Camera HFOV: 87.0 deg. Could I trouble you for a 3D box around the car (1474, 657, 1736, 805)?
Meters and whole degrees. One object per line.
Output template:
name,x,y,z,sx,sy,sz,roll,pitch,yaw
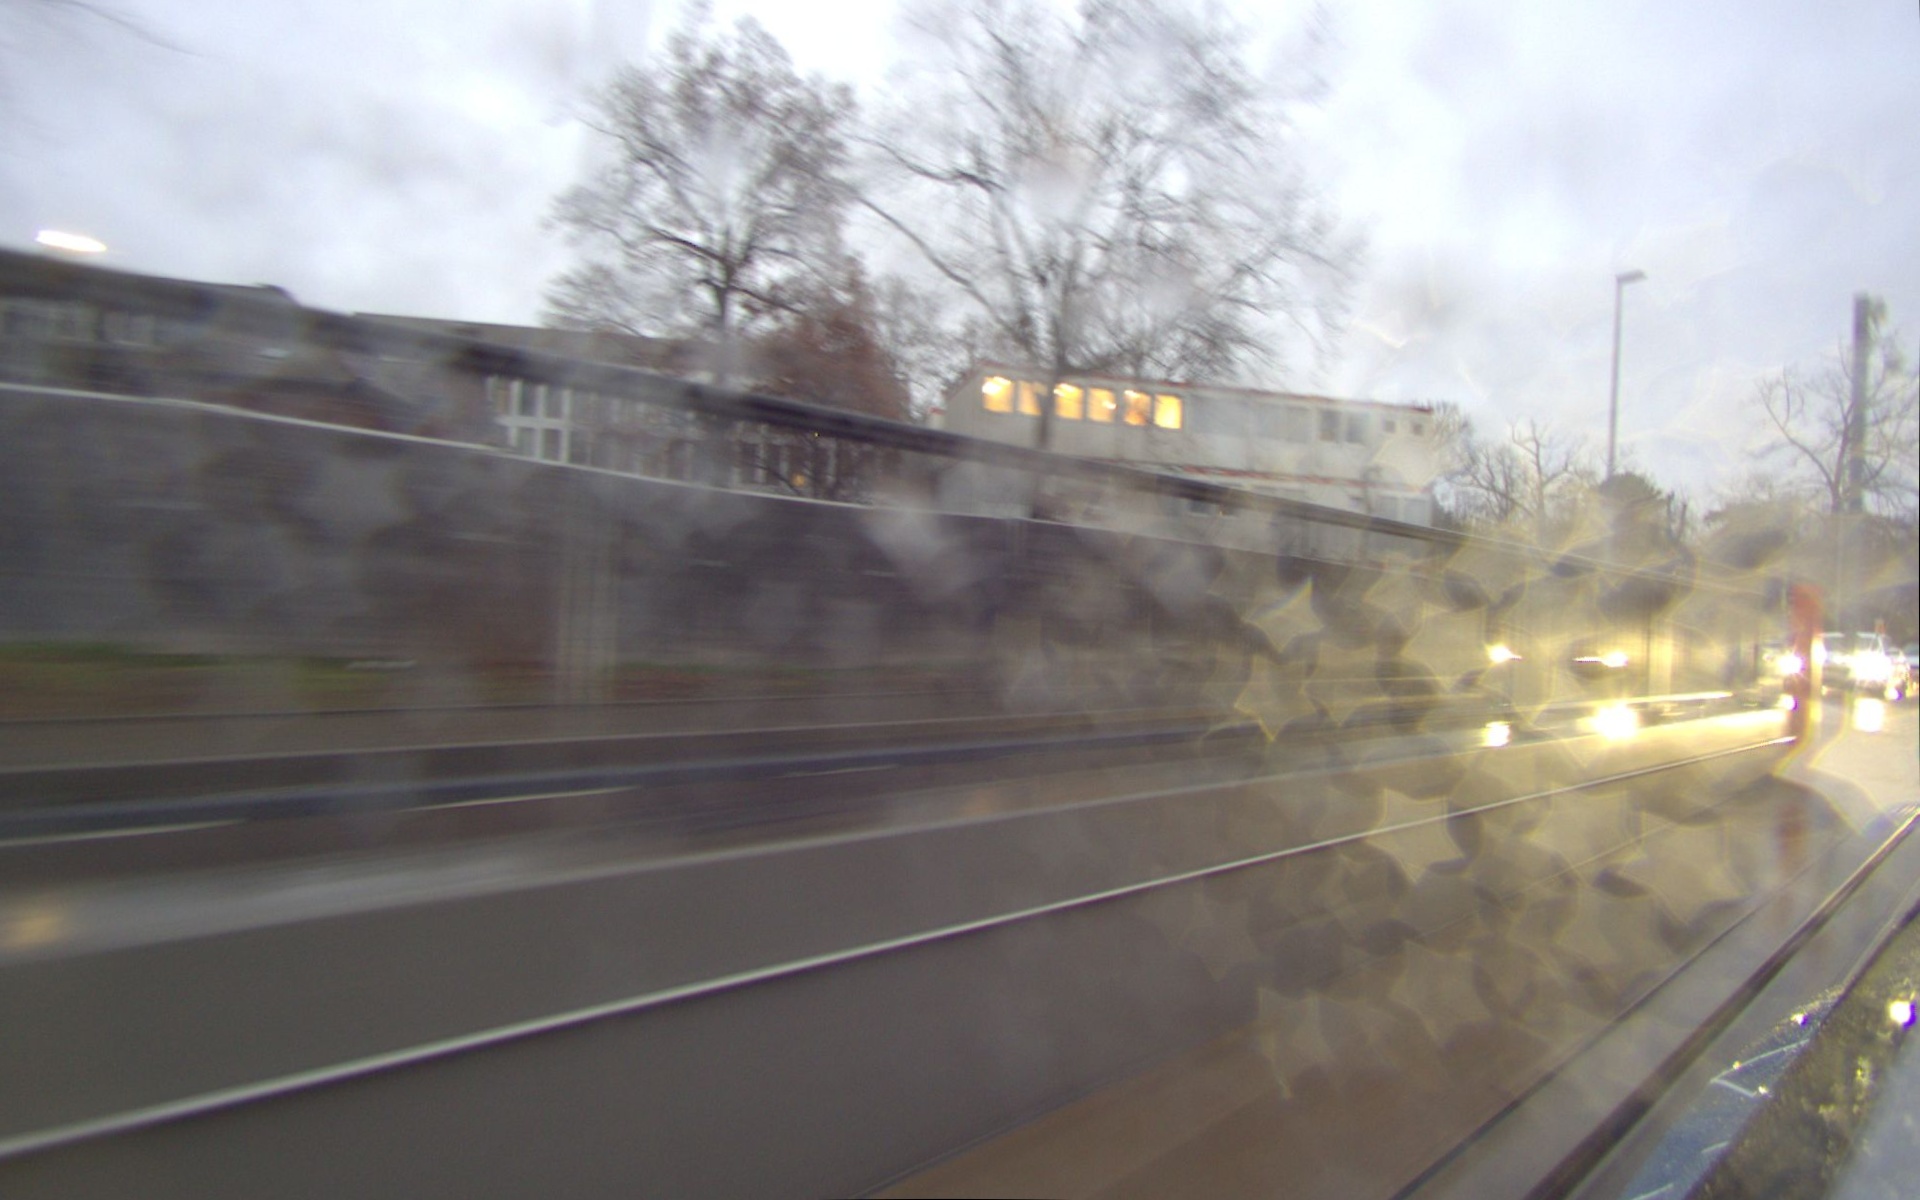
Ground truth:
car,8.410,1.551,13.082,3.928,1.498,1.726,2,-2,-39

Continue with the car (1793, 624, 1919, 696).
car,22.000,1.380,24.564,4.876,1.520,1.791,1,0,-39

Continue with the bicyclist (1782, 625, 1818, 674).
bicyclist,30.076,1.757,36.232,0.683,1.700,0.818,2,-1,-32

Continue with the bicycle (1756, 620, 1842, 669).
bicycle,30.067,1.579,36.305,0.677,1.678,2.247,2,-2,-34

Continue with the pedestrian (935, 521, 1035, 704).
pedestrian,0.278,0.140,11.009,0.885,1.903,0.532,3,-1,-41

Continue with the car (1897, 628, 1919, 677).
car,30.955,1.656,31.610,3.964,1.480,1.779,2,0,-36

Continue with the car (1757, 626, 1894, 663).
car,40.168,2.038,47.078,1.845,1.508,4.520,2,0,-33
